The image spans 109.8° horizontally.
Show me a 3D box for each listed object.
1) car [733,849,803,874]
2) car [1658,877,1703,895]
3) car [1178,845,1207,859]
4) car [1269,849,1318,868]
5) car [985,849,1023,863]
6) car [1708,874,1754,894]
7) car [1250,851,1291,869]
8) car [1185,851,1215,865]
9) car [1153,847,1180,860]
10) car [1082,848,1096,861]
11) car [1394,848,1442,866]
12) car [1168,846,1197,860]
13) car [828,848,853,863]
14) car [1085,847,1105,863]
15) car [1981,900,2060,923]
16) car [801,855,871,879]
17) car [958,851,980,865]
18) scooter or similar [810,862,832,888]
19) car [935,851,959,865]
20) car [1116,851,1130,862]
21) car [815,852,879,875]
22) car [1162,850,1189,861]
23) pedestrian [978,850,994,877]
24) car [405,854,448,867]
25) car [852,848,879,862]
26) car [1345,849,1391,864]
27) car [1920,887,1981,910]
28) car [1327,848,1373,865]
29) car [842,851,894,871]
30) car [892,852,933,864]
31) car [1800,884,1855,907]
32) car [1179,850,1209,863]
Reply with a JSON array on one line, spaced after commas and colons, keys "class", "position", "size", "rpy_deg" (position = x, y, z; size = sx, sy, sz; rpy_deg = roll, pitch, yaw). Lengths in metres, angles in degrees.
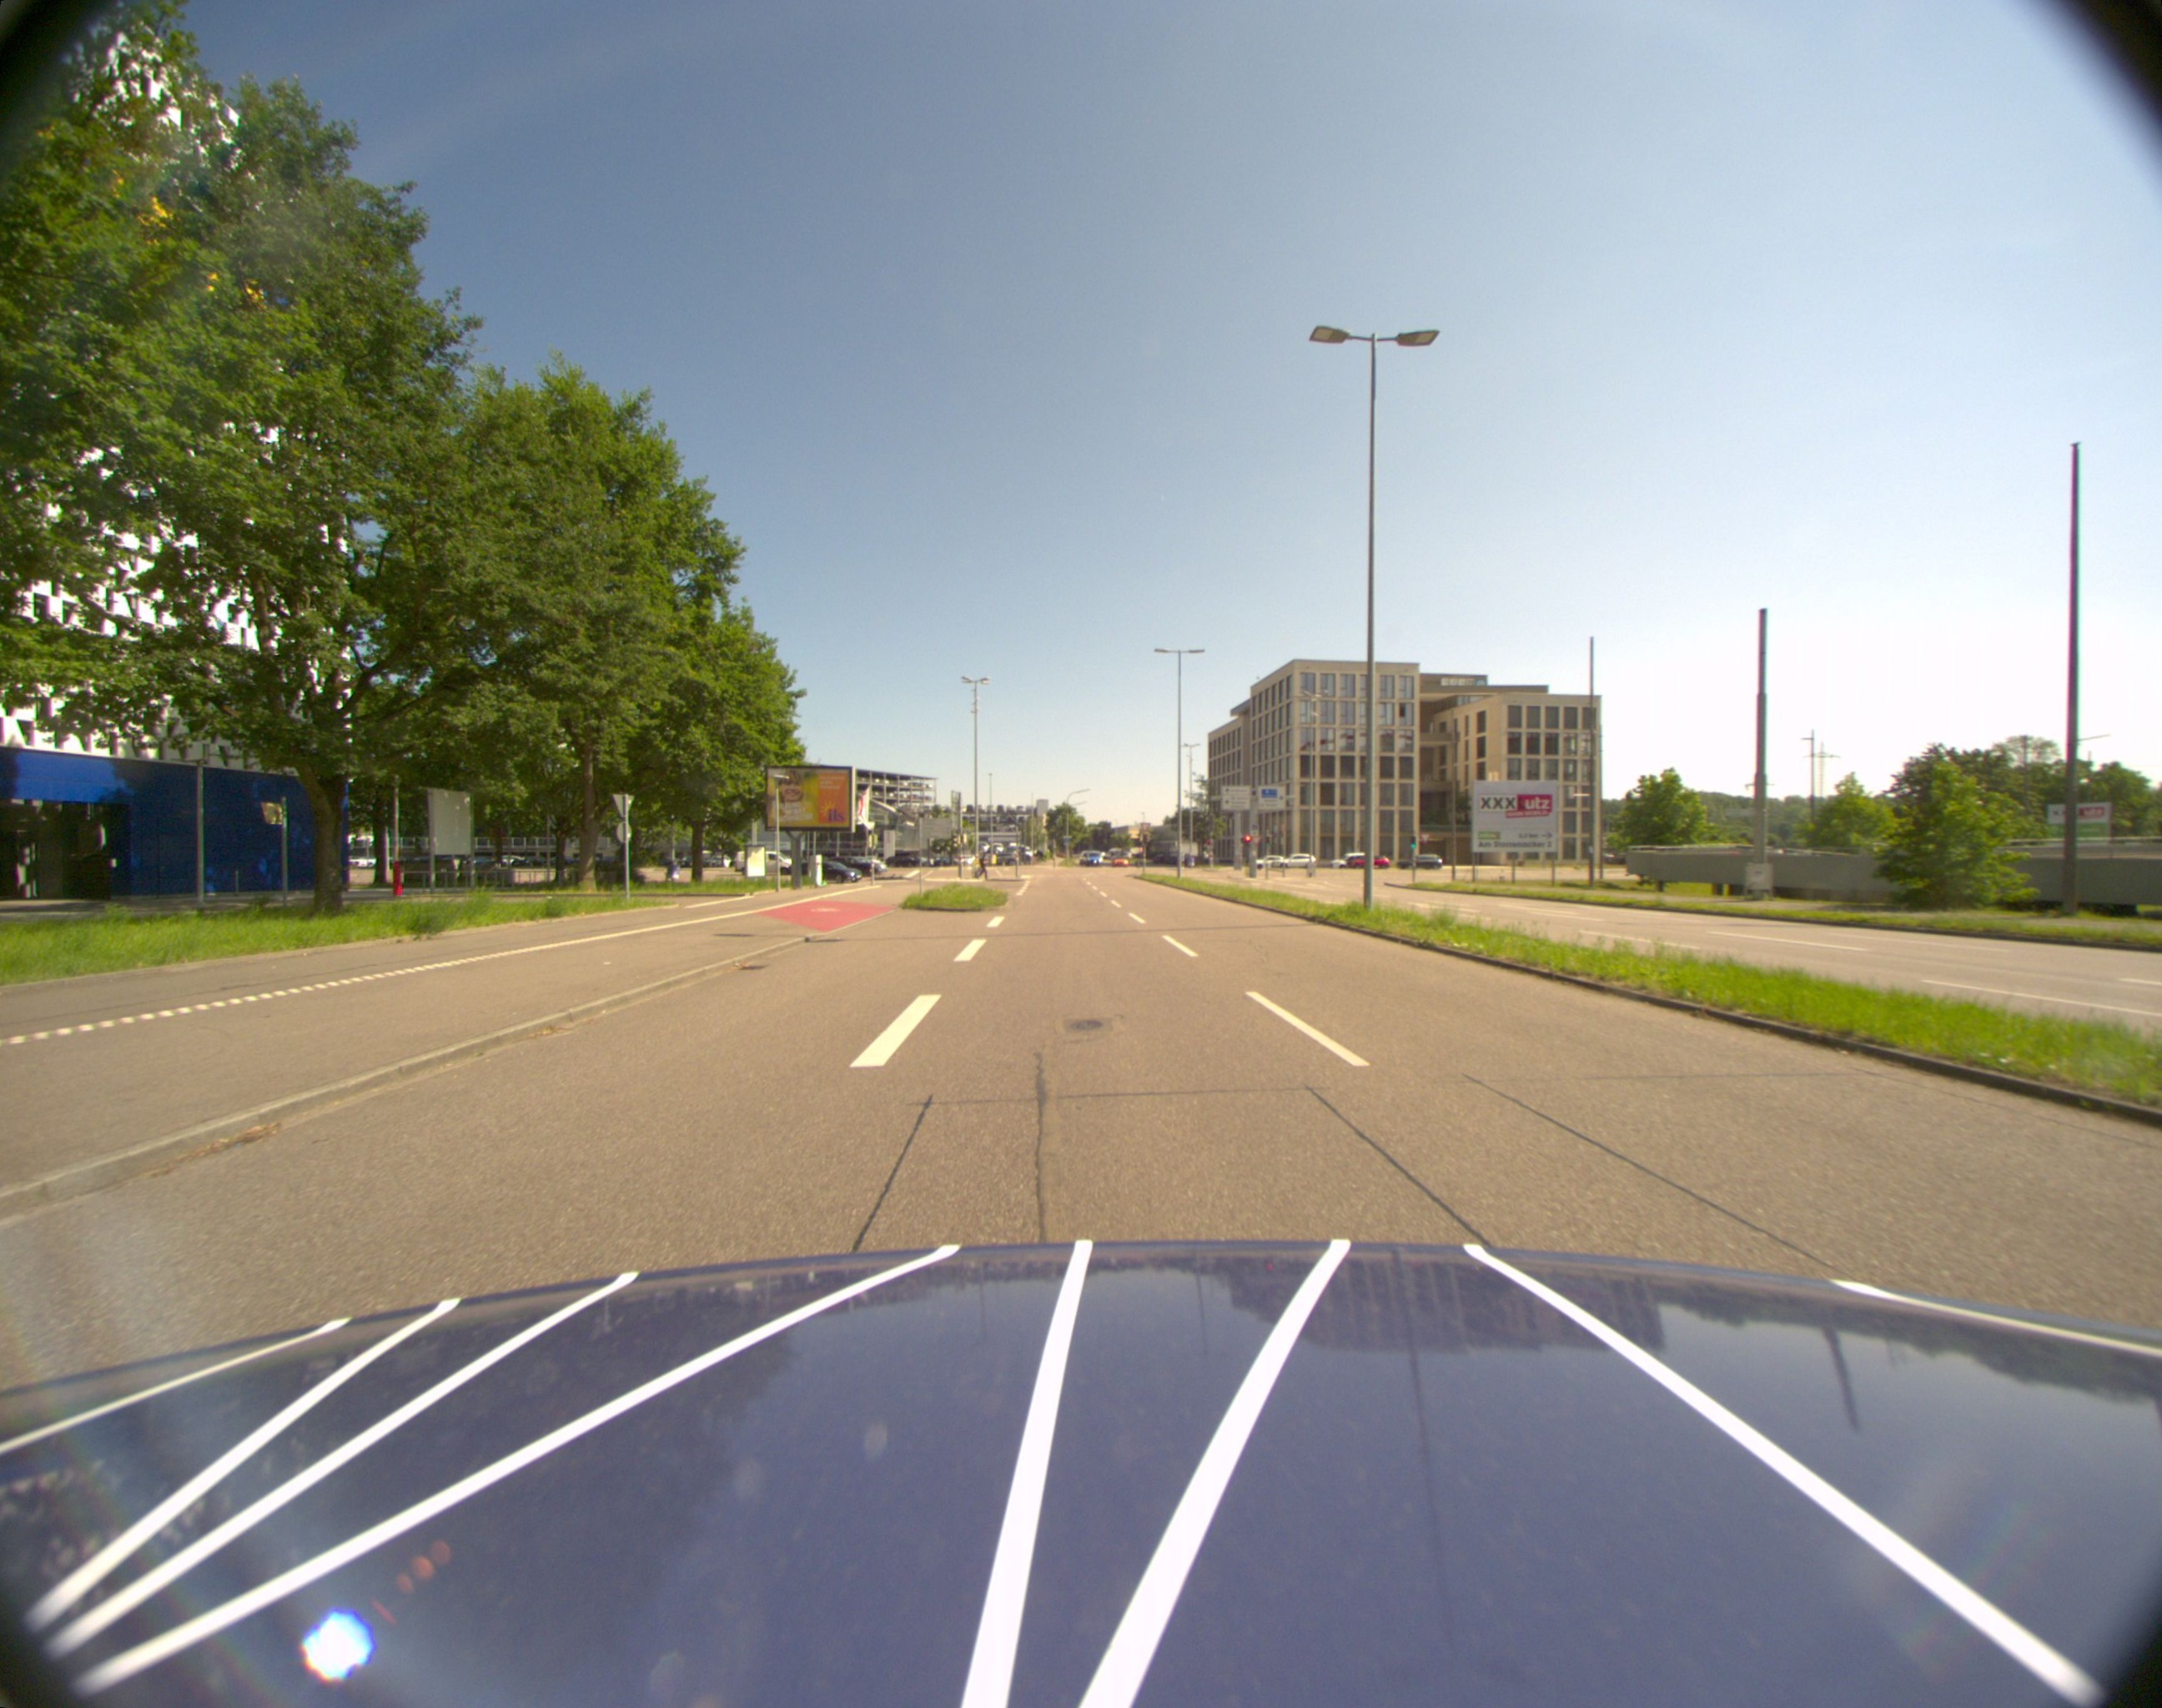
[{"class": "car", "position": [-25.582, 0.585, 62.174], "size": [4.999, 1.996, 1.739], "rpy_deg": [0, 2, -6]}, {"class": "car", "position": [34.403, 1.814, 43.628], "size": [1.943, 0.969, 0.890], "rpy_deg": [-1, -4, -7]}, {"class": "car", "position": [16.302, -0.245, 111.123], "size": [3.992, 2.002, 2.002], "rpy_deg": [0, 1, 16]}, {"class": "car", "position": [21.279, 0.432, 76.223], "size": [4.312, 1.827, 2.024], "rpy_deg": [-1, 2, -9]}, {"class": "car", "position": [-9.254, 0.215, 91.281], "size": [4.480, 1.578, 1.979], "rpy_deg": [0, 1, -4]}, {"class": "car", "position": [30.033, 1.387, 35.121], "size": [1.506, 0.877, 0.791], "rpy_deg": [-1, 2, -7]}, {"class": "car", "position": [19.734, 0.616, 79.236], "size": [3.766, 1.703, 1.832], "rpy_deg": [-1, 2, -10]}, {"class": "car", "position": [16.386, 0.546, 104.324], "size": [3.994, 1.729, 2.001], "rpy_deg": [1, 2, 10]}, {"class": "car", "position": [13.628, -0.056, 121.009], "size": [3.992, 2.002, 2.002], "rpy_deg": [0, 1, 16]}, {"class": "car", "position": [1.023, 0.048, 97.492], "size": [1.667, 1.548, 3.853], "rpy_deg": [0, 2, -2]}, {"class": "car", "position": [35.609, 0.324, 80.402], "size": [4.242, 1.878, 1.833], "rpy_deg": [0, 2, -4]}, {"class": "car", "position": [15.289, -0.128, 114.403], "size": [3.992, 2.002, 2.002], "rpy_deg": [0, 1, 16]}, {"class": "car", "position": [-25.919, 0.146, 81.899], "size": [1.888, 1.538, 3.885], "rpy_deg": [0, 1, -7]}, {"class": "car", "position": [1.728, 0.070, 92.272], "size": [2.185, 1.898, 4.731], "rpy_deg": [0, 0, 4]}, {"class": "car", "position": [35.302, 2.144, 28.566], "size": [2.087, 0.729, 0.906], "rpy_deg": [-1, 2, -7]}, {"class": "car", "position": [-16.629, 0.901, 51.654], "size": [4.229, 1.456, 1.774], "rpy_deg": [-1, 2, 19]}, {"class": "car", "position": [-12.675, 0.396, 86.246], "size": [1.887, 1.452, 3.999], "rpy_deg": [0, 1, 1]}, {"class": "scooter or similar", "position": [-12.071, 0.966, 35.264], "size": [0.402, 1.160, 1.185], "rpy_deg": [0, 2, 13]}, {"class": "car", "position": [-15.109, 0.436, 85.881], "size": [1.998, 1.452, 4.000], "rpy_deg": [0, 0, 1]}, {"class": "car", "position": [5.141, 0.322, 92.591], "size": [1.738, 1.356, 3.866], "rpy_deg": [0, 0, 4]}, {"class": "car", "position": [-18.201, 0.744, 59.301], "size": [4.503, 1.618, 1.714], "rpy_deg": [-1, 2, -6]}, {"class": "car", "position": [14.734, 0.181, 118.253], "size": [3.992, 1.605, 2.002], "rpy_deg": [0, 1, 16]}, {"class": "pedestrian", "position": [-6.464, 0.649, 51.732], "size": [0.705, 1.769, 0.961], "rpy_deg": [1, 1, 20]}, {"class": "car", "position": [-68.851, 0.684, 80.018], "size": [1.594, 1.242, 3.416], "rpy_deg": [0, 0, 0]}, {"class": "car", "position": [-23.229, 0.108, 82.151], "size": [2.005, 1.413, 4.112], "rpy_deg": [0, 0, -5]}, {"class": "car", "position": [29.048, 0.272, 76.818], "size": [4.119, 1.519, 1.530], "rpy_deg": [0, 1, -7]}, {"class": "car", "position": [41.082, 2.087, 35.901], "size": [1.942, 0.970, 0.887], "rpy_deg": [0, 2, -4]}, {"class": "car", "position": [28.391, 0.252, 80.205], "size": [4.230, 1.701, 1.903], "rpy_deg": [0, 1, -7]}, {"class": "car", "position": [-17.752, 0.574, 63.407], "size": [3.828, 1.603, 1.759], "rpy_deg": [0, 2, 1]}, {"class": "car", "position": [-19.124, 0.439, 86.149], "size": [4.351, 1.342, 1.820], "rpy_deg": [0, 1, -6]}, {"class": "car", "position": [34.914, 1.949, 35.542], "size": [1.848, 0.970, 0.865], "rpy_deg": [-1, 2, -7]}, {"class": "car", "position": [16.030, 0.289, 107.425], "size": [3.992, 1.816, 2.002], "rpy_deg": [0, 1, 16]}]
